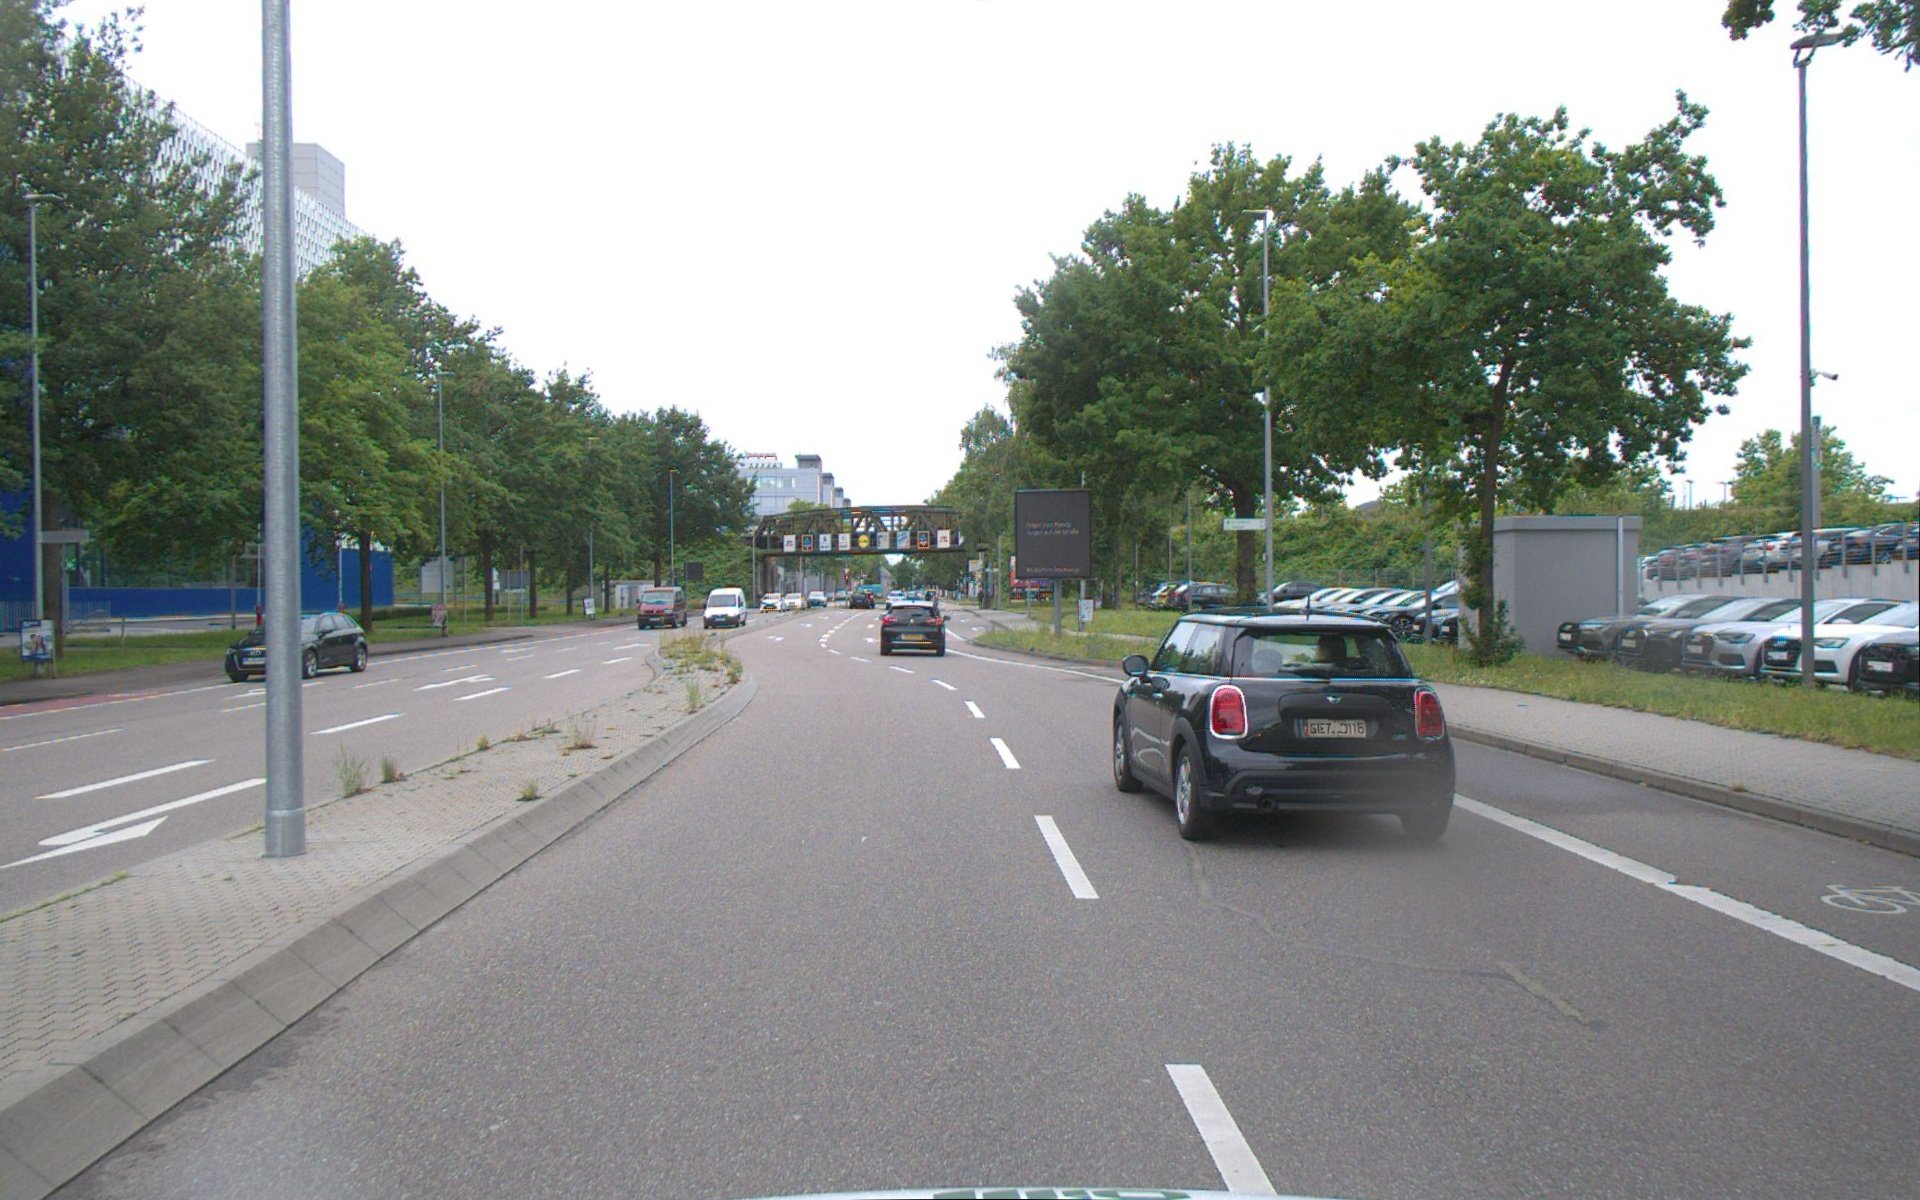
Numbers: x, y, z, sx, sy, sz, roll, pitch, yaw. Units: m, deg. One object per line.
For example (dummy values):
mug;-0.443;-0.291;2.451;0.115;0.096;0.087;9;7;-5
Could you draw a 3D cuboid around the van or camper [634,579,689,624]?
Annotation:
van or camper;-14.351;0.034;79.785;1.837;2.021;4.888;-1;1;-2

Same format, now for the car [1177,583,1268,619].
car;11.780;0.039;74.301;3.903;1.460;1.732;1;2;5

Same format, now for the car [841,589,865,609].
car;-9.734;-0.097;150.737;1.845;1.690;3.783;1;2;1

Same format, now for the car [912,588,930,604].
car;-4.314;-0.454;182.035;1.845;1.690;3.783;1;2;1

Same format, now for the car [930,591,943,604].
car;-3.489;-0.355;247.829;1.910;1.847;4.001;1;2;1

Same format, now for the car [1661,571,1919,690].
car;13.554;0.492;25.901;4.207;1.530;2.029;5;1;0

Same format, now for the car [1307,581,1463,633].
car;12.962;0.199;50.604;4.256;1.514;1.842;1;1;-2

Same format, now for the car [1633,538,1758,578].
car;28.018;-1.592;63.080;4.004;1.460;1.730;0;2;-3

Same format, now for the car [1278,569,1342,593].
car;22.752;-1.247;107.608;3.903;1.460;1.732;1;2;5

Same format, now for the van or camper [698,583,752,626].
van or camper;-10.779;0.161;76.094;1.719;1.777;4.407;-4;1;0

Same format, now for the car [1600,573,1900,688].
car;13.429;0.484;28.309;4.092;1.470;1.960;6;2;0

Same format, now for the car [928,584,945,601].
car;-2.723;-0.912;194.649;1.910;1.847;4.001;1;2;1

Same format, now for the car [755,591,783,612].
car;-14.486;0.081;125.690;1.718;1.471;3.340;1;2;1

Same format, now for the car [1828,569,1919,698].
car;13.500;0.575;20.714;4.092;1.494;2.000;6;2;0

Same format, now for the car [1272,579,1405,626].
car;12.697;0.067;55.622;4.004;1.460;1.846;0;2;-3

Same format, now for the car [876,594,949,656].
car;-1.234;0.635;44.280;1.720;1.459;4.001;-1;1;1

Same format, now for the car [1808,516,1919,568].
car;28.334;-1.751;50.172;4.249;1.522;1.881;0;2;-3

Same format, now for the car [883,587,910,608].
car;-5.451;-0.214;142.058;2.091;1.690;3.783;1;2;1

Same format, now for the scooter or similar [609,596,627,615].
scooter or similar;-21.351;0.318;103.249;0.747;1.108;2.006;0;2;-2

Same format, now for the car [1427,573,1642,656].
car;13.149;0.327;38.016;4.173;1.592;2.000;4;0;0

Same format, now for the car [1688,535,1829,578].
car;27.980;-1.546;58.049;4.004;1.460;1.946;0;2;-3

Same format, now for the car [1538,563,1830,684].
car;13.445;0.405;30.914;4.459;1.731;2.000;6;2;0

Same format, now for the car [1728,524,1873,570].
car;28.133;-1.789;55.443;4.004;1.460;1.730;0;2;-3

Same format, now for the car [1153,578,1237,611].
car;11.307;-0.285;79.794;3.903;1.460;1.732;1;2;5

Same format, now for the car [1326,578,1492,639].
car;13.050;0.224;48.239;4.256;1.529;1.929;3;0;-2

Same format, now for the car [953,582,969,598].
car;0.178;-1.247;203.440;1.910;1.847;4.001;1;2;1

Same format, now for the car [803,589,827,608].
car;-14.276;-0.202;163.087;1.900;1.705;3.783;1;2;1

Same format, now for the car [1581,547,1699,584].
car;28.037;-1.434;68.262;4.115;1.460;1.730;0;2;-3

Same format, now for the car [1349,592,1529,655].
car;13.173;0.621;45.620;4.356;1.599;1.999;-1;1;-2

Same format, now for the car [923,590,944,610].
car;-2.405;0.000;151.444;1.845;1.690;3.783;1;2;1

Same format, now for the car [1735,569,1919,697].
car;13.601;0.560;23.327;4.305;1.546;2.000;6;2;-1

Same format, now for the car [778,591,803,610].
car;-14.471;0.038;141.433;1.684;1.395;3.441;1;2;1

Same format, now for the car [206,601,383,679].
car;-14.753;0.850;36.950;1.877;1.528;4.254;-3;0;5

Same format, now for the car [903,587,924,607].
car;-4.810;-0.312;171.405;1.910;1.847;4.001;1;2;1

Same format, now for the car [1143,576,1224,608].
car;11.076;-0.418;82.142;3.903;1.460;1.732;1;2;5

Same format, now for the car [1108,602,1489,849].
car;2.160;0.758;11.527;1.750;1.440;3.641;1;-1;-3

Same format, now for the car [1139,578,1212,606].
car;11.873;-0.456;91.286;3.903;1.460;1.732;1;2;5

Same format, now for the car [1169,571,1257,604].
car;11.711;-0.588;76.762;3.903;1.460;1.732;1;2;5

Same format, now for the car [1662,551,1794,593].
car;28.010;-1.018;60.382;4.004;1.460;1.730;0;2;-3

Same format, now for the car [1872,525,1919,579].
car;28.906;-1.381;47.609;4.249;1.522;1.970;0;2;-3

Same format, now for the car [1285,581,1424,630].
car;12.666;0.171;53.215;4.004;1.460;1.821;0;2;-3

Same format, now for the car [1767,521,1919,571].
car;28.179;-1.729;52.804;4.004;1.522;1.730;0;2;-3

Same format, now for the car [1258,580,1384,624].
car;12.619;0.060;57.938;4.004;1.460;1.730;0;2;-3

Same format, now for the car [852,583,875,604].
car;-9.176;-0.593;157.565;1.910;1.847;4.001;1;2;1

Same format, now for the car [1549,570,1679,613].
car;23.522;-0.319;59.564;4.004;1.460;1.730;0;2;-3

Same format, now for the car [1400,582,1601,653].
car;13.163;0.411;40.486;4.206;1.417;2.000;4;0;0
